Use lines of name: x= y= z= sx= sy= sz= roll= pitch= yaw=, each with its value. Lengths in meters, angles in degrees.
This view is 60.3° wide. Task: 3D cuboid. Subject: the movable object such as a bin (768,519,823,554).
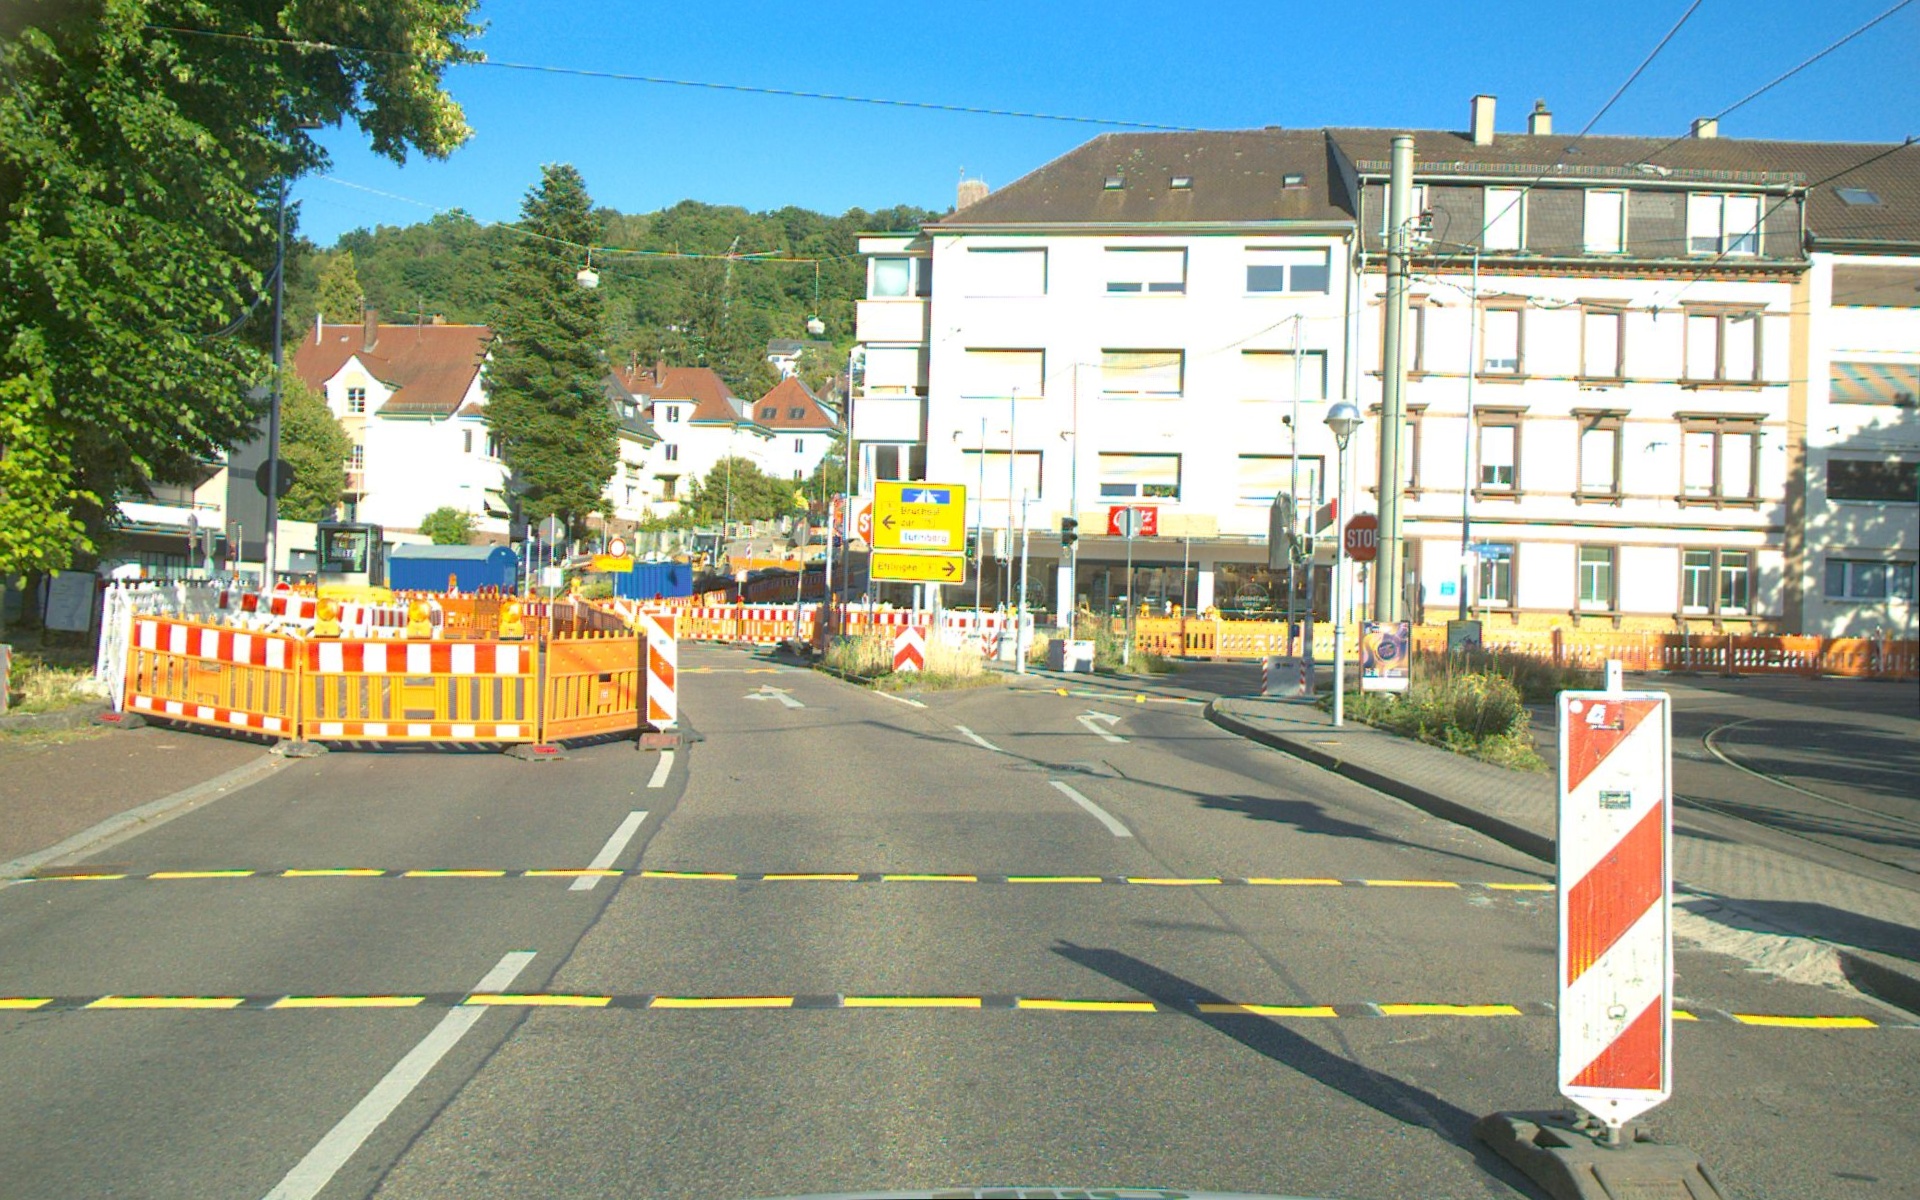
movable object such as a bin: x=-11.367 y=-4.386 z=114.740 sx=2.510 sy=2.159 sz=5.789 roll=1 pitch=0 yaw=8

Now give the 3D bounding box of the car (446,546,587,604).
car: x=-17.562 y=-0.940 z=65.904 sx=2.529 sy=2.158 sz=6.154 roll=1 pitch=0 yaw=17

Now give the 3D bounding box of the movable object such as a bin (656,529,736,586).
movable object such as a bin: x=-12.527 y=-2.000 z=78.790 sx=1.907 sy=2.538 sz=4.554 roll=1 pitch=0 yaw=17

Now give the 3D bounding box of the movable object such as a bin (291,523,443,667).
movable object such as a bin: x=-10.422 y=-0.092 z=29.344 sx=1.615 sy=2.365 sz=3.916 roll=1 pitch=0 yaw=-6
